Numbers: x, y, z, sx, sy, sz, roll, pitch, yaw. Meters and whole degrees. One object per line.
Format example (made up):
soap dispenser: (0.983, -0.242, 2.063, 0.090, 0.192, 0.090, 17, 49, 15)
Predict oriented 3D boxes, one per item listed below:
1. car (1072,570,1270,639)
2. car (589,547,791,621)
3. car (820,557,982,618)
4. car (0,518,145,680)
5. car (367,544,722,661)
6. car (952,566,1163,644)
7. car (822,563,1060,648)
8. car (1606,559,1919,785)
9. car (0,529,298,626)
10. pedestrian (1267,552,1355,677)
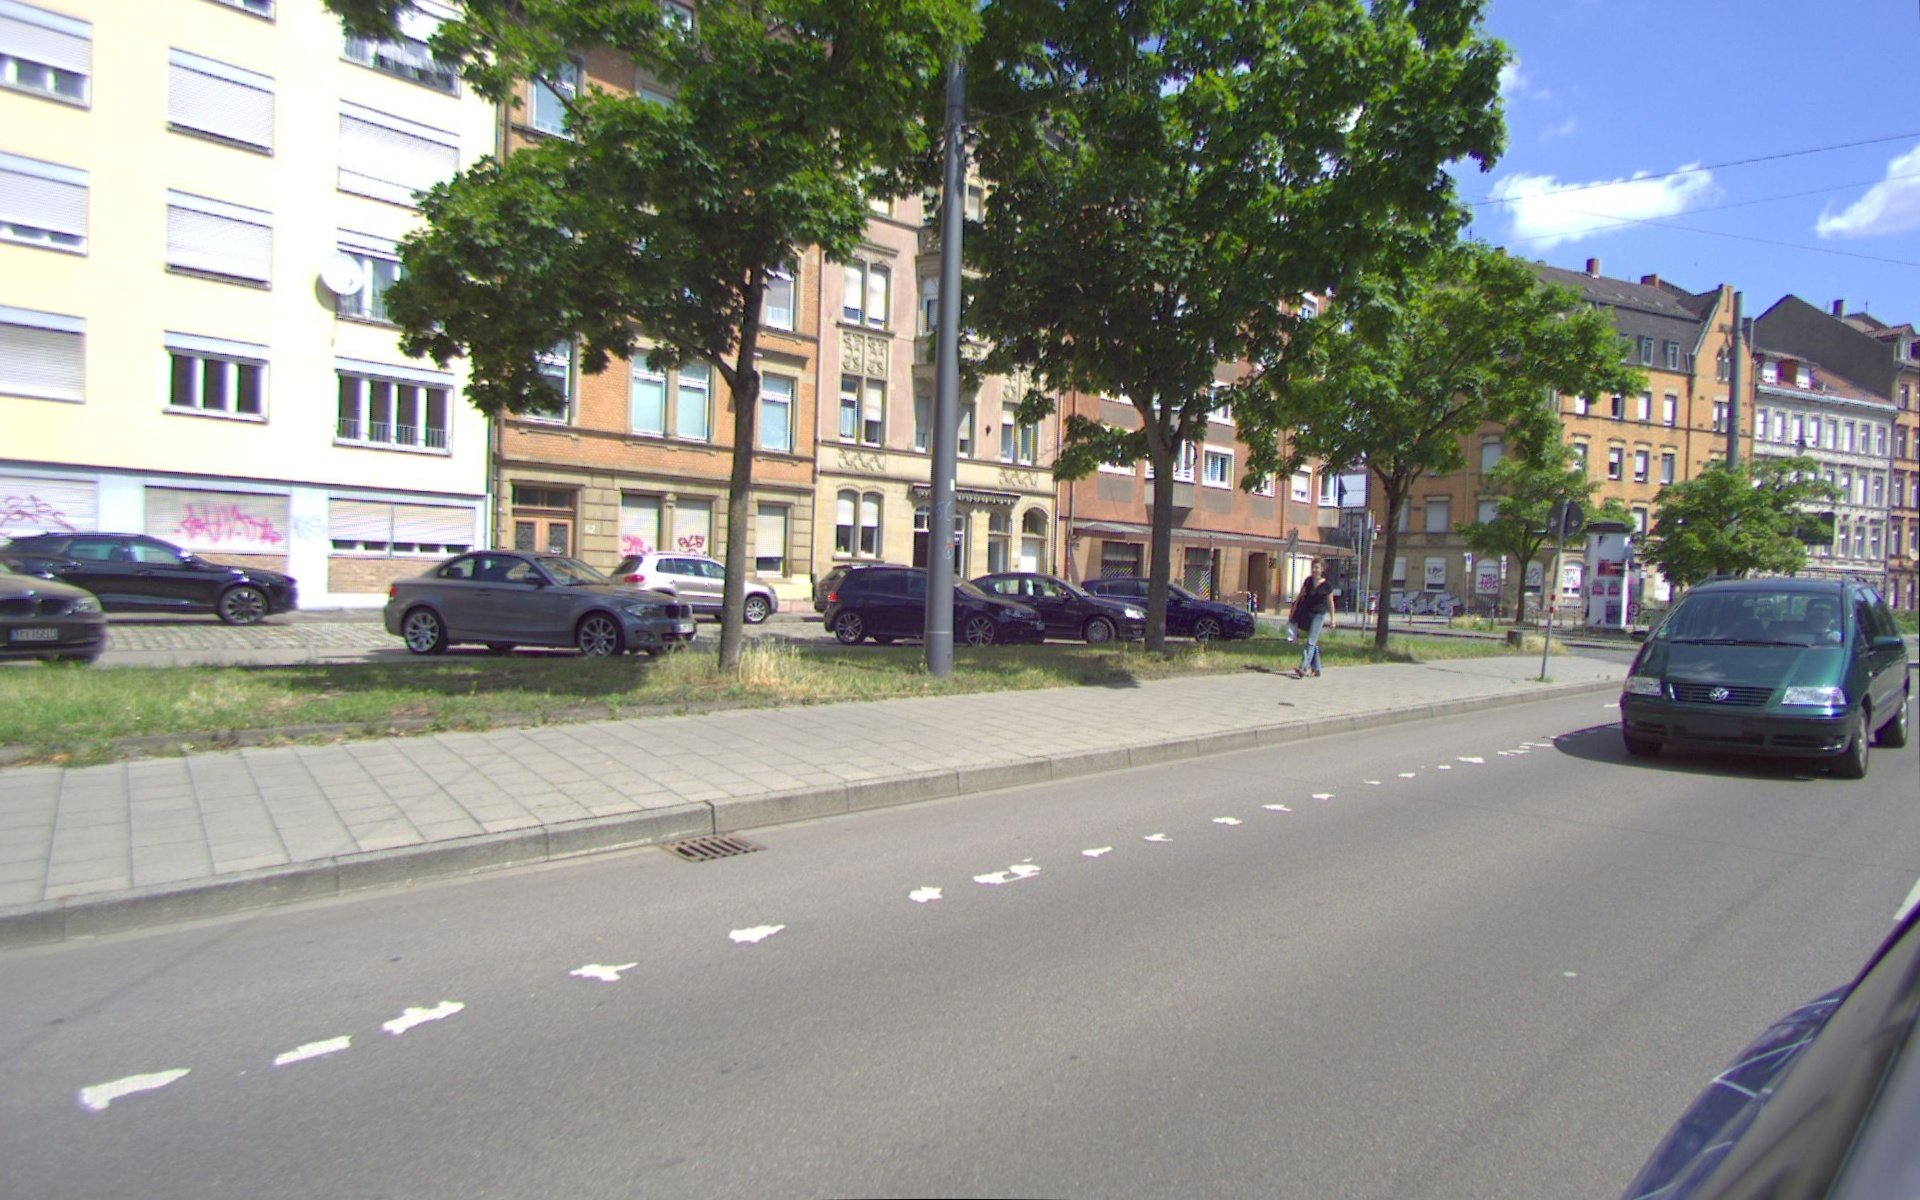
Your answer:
car: (4.714, 0.054, 22.614, 3.962, 1.371, 1.943, 1, 1, 27)
car: (-6.516, -0.381, 24.714, 4.416, 1.635, 1.836, 0, 1, -41)
car: (-1.652, -0.357, 29.161, 4.413, 1.635, 1.837, 0, 1, -38)
car: (-10.258, -0.052, 9.548, 4.205, 1.397, 1.845, 1, 1, 14)
car: (-5.578, -0.006, 13.750, 4.205, 1.397, 1.845, 1, 1, 14)
car: (1.996, 0.062, 20.407, 3.945, 1.397, 1.951, 1, 1, 17)
car: (-0.335, 0.050, 18.637, 3.953, 1.397, 1.947, 1, 1, 22)
car: (8.424, 0.527, 10.285, 4.944, 1.778, 1.822, 0, 1, -41)
car: (-14.077, -0.372, 17.550, 4.153, 1.510, 1.836, 0, 1, -41)
pedestrian: (5.096, 0.193, 14.697, 1.027, 1.724, 0.702, 0, 4, -42)
